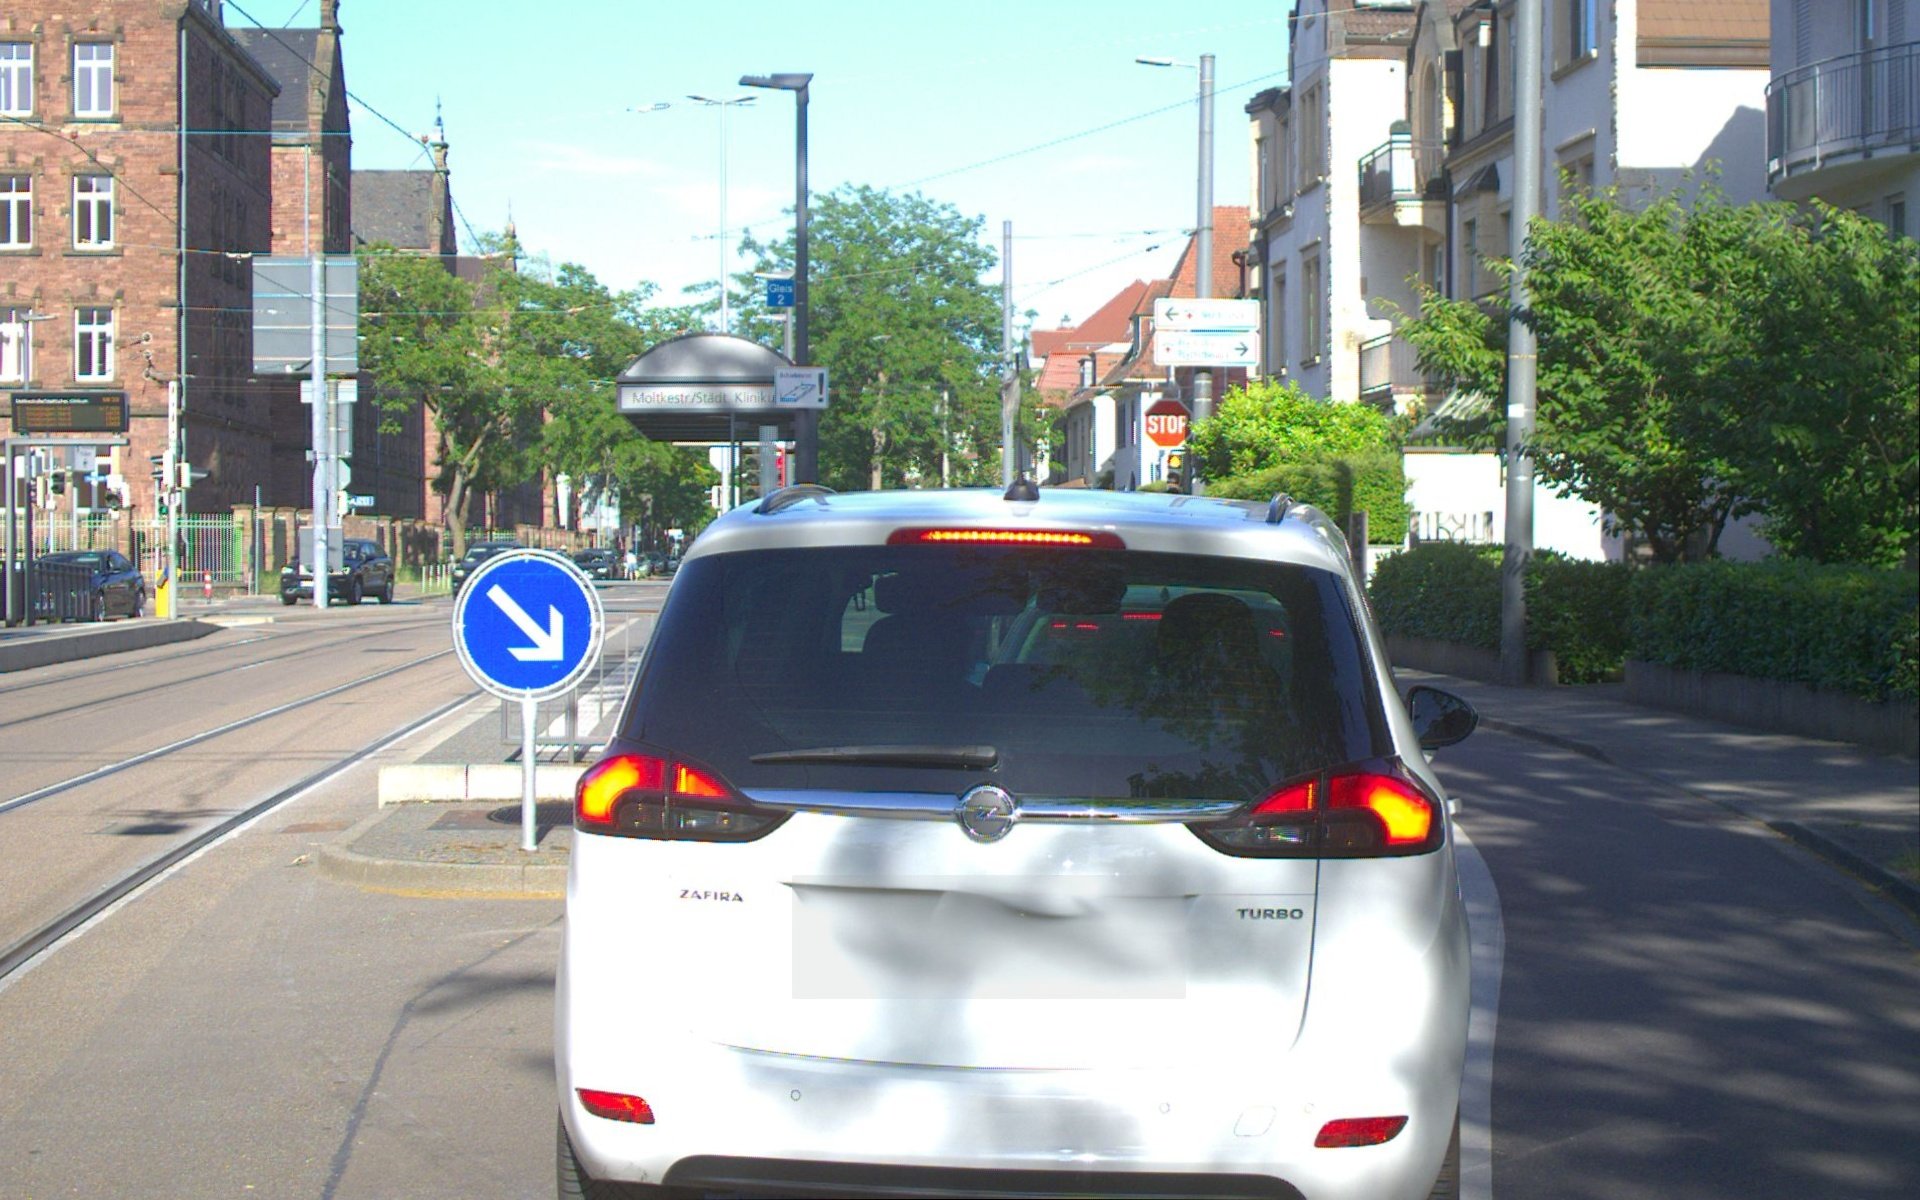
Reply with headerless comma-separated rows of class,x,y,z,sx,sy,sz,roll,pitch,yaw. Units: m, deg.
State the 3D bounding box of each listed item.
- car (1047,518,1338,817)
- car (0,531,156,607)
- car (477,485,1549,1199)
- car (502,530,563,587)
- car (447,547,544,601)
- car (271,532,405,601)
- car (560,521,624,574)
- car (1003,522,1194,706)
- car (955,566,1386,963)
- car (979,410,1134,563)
car,1.457,0.336,21.030,1.569,1.609,3.783,2,1,5
car,-17.123,-0.619,65.535,1.799,1.377,4.493,0,1,11
car,0.250,0.567,8.082,1.878,1.579,3.999,1,1,5
car,-13.648,-1.309,109.916,1.826,1.782,4.328,1,0,-6
car,-12.893,-0.713,95.668,1.827,1.441,4.327,1,0,4
car,-14.859,-0.786,82.342,1.827,1.611,4.326,1,0,9
car,-14.160,-2.043,132.523,1.993,2.007,4.000,0,1,1
car,1.298,0.097,33.514,1.596,1.629,3.901,2,1,-1
car,0.950,0.595,14.780,1.569,1.396,3.783,2,1,5
car,1.081,-1.333,40.086,1.596,1.629,3.902,2,2,-1
